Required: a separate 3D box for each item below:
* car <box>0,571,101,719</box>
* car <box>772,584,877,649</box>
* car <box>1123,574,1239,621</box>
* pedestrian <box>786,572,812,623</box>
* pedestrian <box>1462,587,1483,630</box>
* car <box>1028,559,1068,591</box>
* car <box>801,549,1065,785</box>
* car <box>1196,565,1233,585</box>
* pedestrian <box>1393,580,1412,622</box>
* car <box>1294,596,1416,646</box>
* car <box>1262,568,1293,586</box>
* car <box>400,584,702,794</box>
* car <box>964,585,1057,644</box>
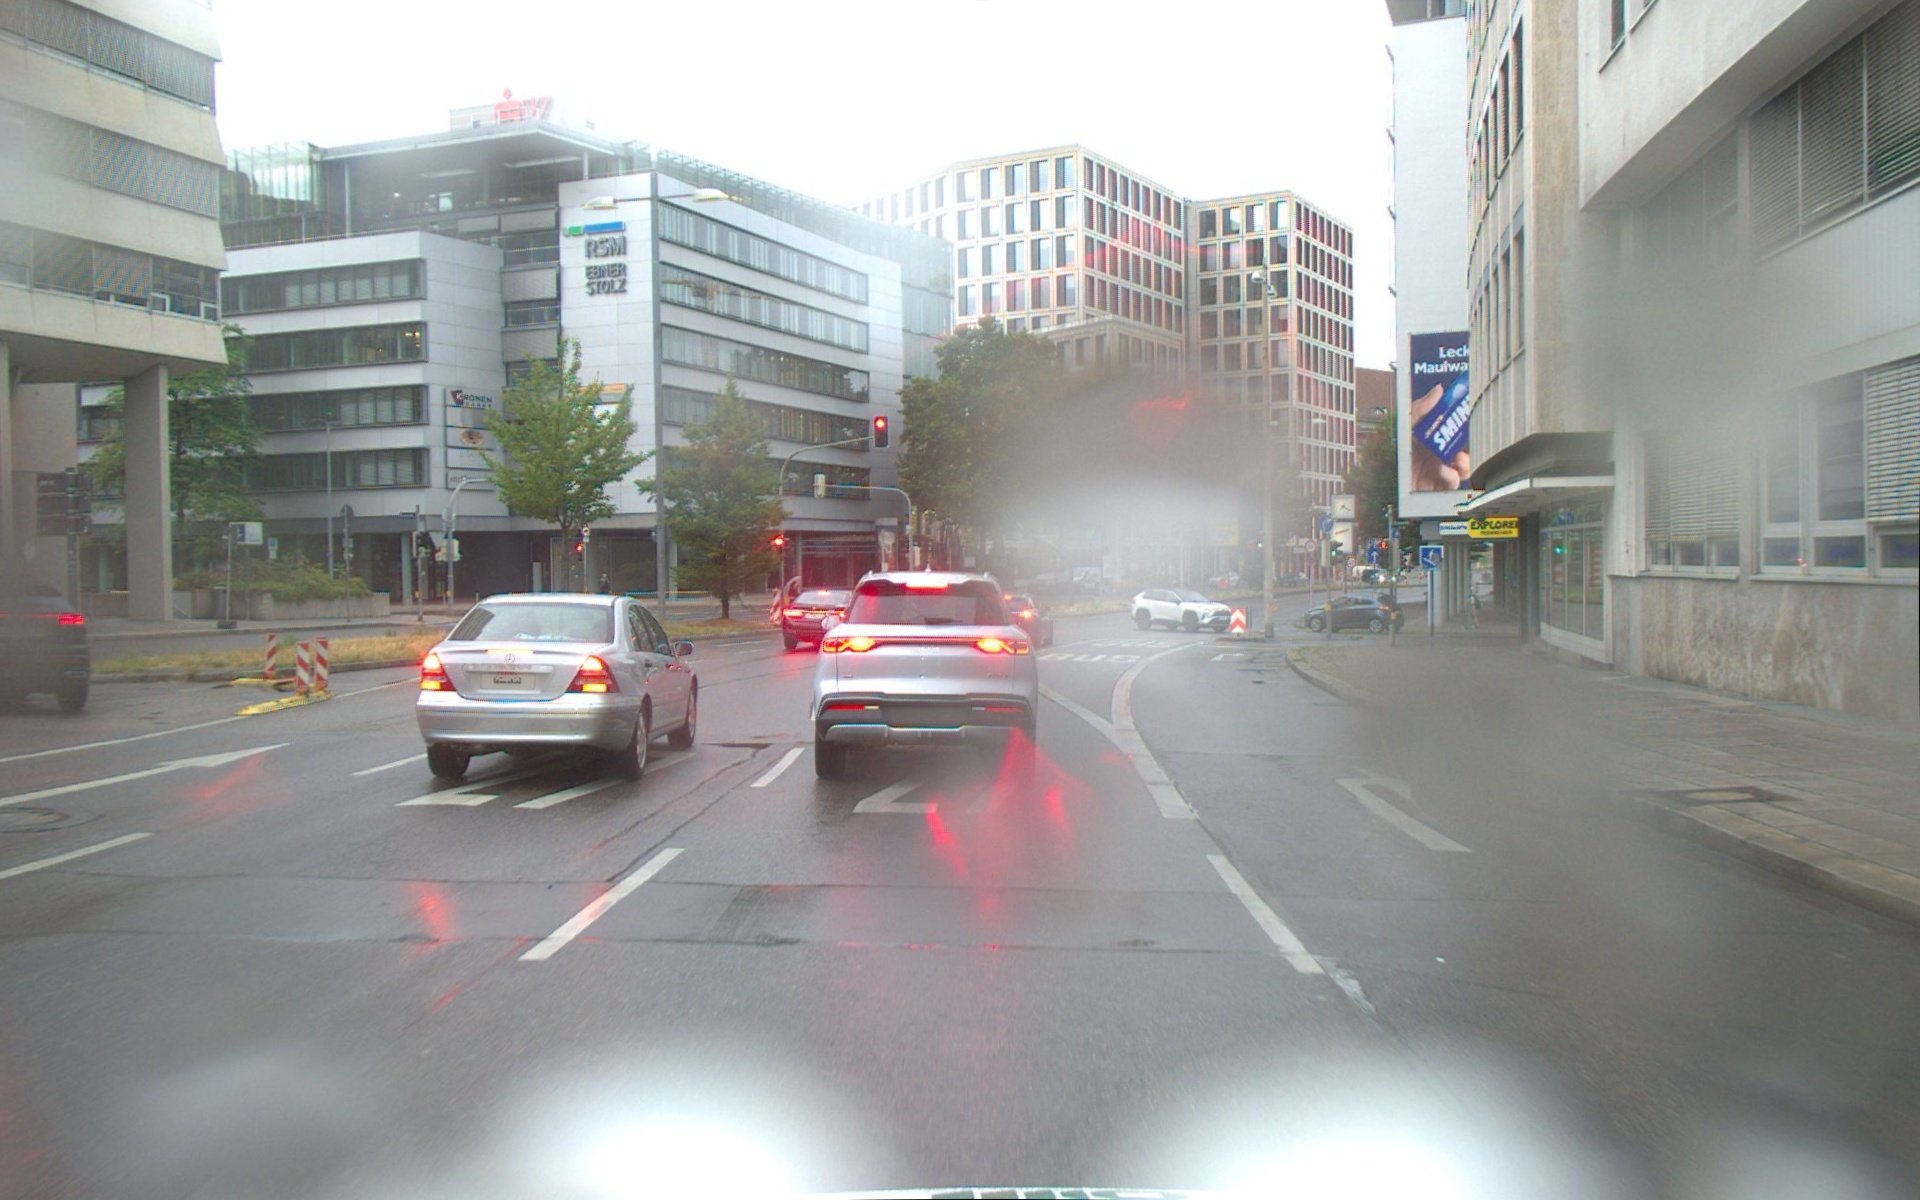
[{"bbox_3d":[-11.411,0.453,19.472,1.975,1.571,4.433,0,1,-32],"label":"car"},{"bbox_3d":[-3.386,0.370,42.055,1.913,1.556,4.003,0,1,6],"label":"car"},{"bbox_3d":[8.741,-0.127,65.614,1.980,1.780,4.468,0,1,-39],"label":"car"},{"bbox_3d":[-5.638,-0.084,57.977,0.903,1.768,0.729,0,0,-4],"label":"pedestrian"},{"bbox_3d":[20.564,0.323,66.359,0.751,1.707,0.729,1,0,24],"label":"pedestrian"},{"bbox_3d":[6.427,-1.810,120.846,1.701,2.199,4.495,1,0,19],"label":"car"},{"bbox_3d":[-0.279,0.470,14.502,1.953,1.739,4.481,0,1,-2],"label":"car"},{"bbox_3d":[23.042,-2.294,149.635,1.955,1.735,4.303,1,2,28],"label":"car"},{"bbox_3d":[18.079,0.024,67.546,0.712,1.698,0.691,0,-1,17],"label":"pedestrian"},{"bbox_3d":[15.645,0.794,65.561,4.267,1.796,2.047,2,1,35],"label":"car"},{"bbox_3d":[32.316,-2.330,168.227,1.955,1.735,4.303,1,2,28],"label":"car"},{"bbox_3d":[-3.293,0.624,14.103,1.648,1.512,4.195,0,1,-2],"label":"car"},{"bbox_3d":[1.466,0.380,46.356,1.913,1.556,4.004,1,1,12],"label":"car"}]
